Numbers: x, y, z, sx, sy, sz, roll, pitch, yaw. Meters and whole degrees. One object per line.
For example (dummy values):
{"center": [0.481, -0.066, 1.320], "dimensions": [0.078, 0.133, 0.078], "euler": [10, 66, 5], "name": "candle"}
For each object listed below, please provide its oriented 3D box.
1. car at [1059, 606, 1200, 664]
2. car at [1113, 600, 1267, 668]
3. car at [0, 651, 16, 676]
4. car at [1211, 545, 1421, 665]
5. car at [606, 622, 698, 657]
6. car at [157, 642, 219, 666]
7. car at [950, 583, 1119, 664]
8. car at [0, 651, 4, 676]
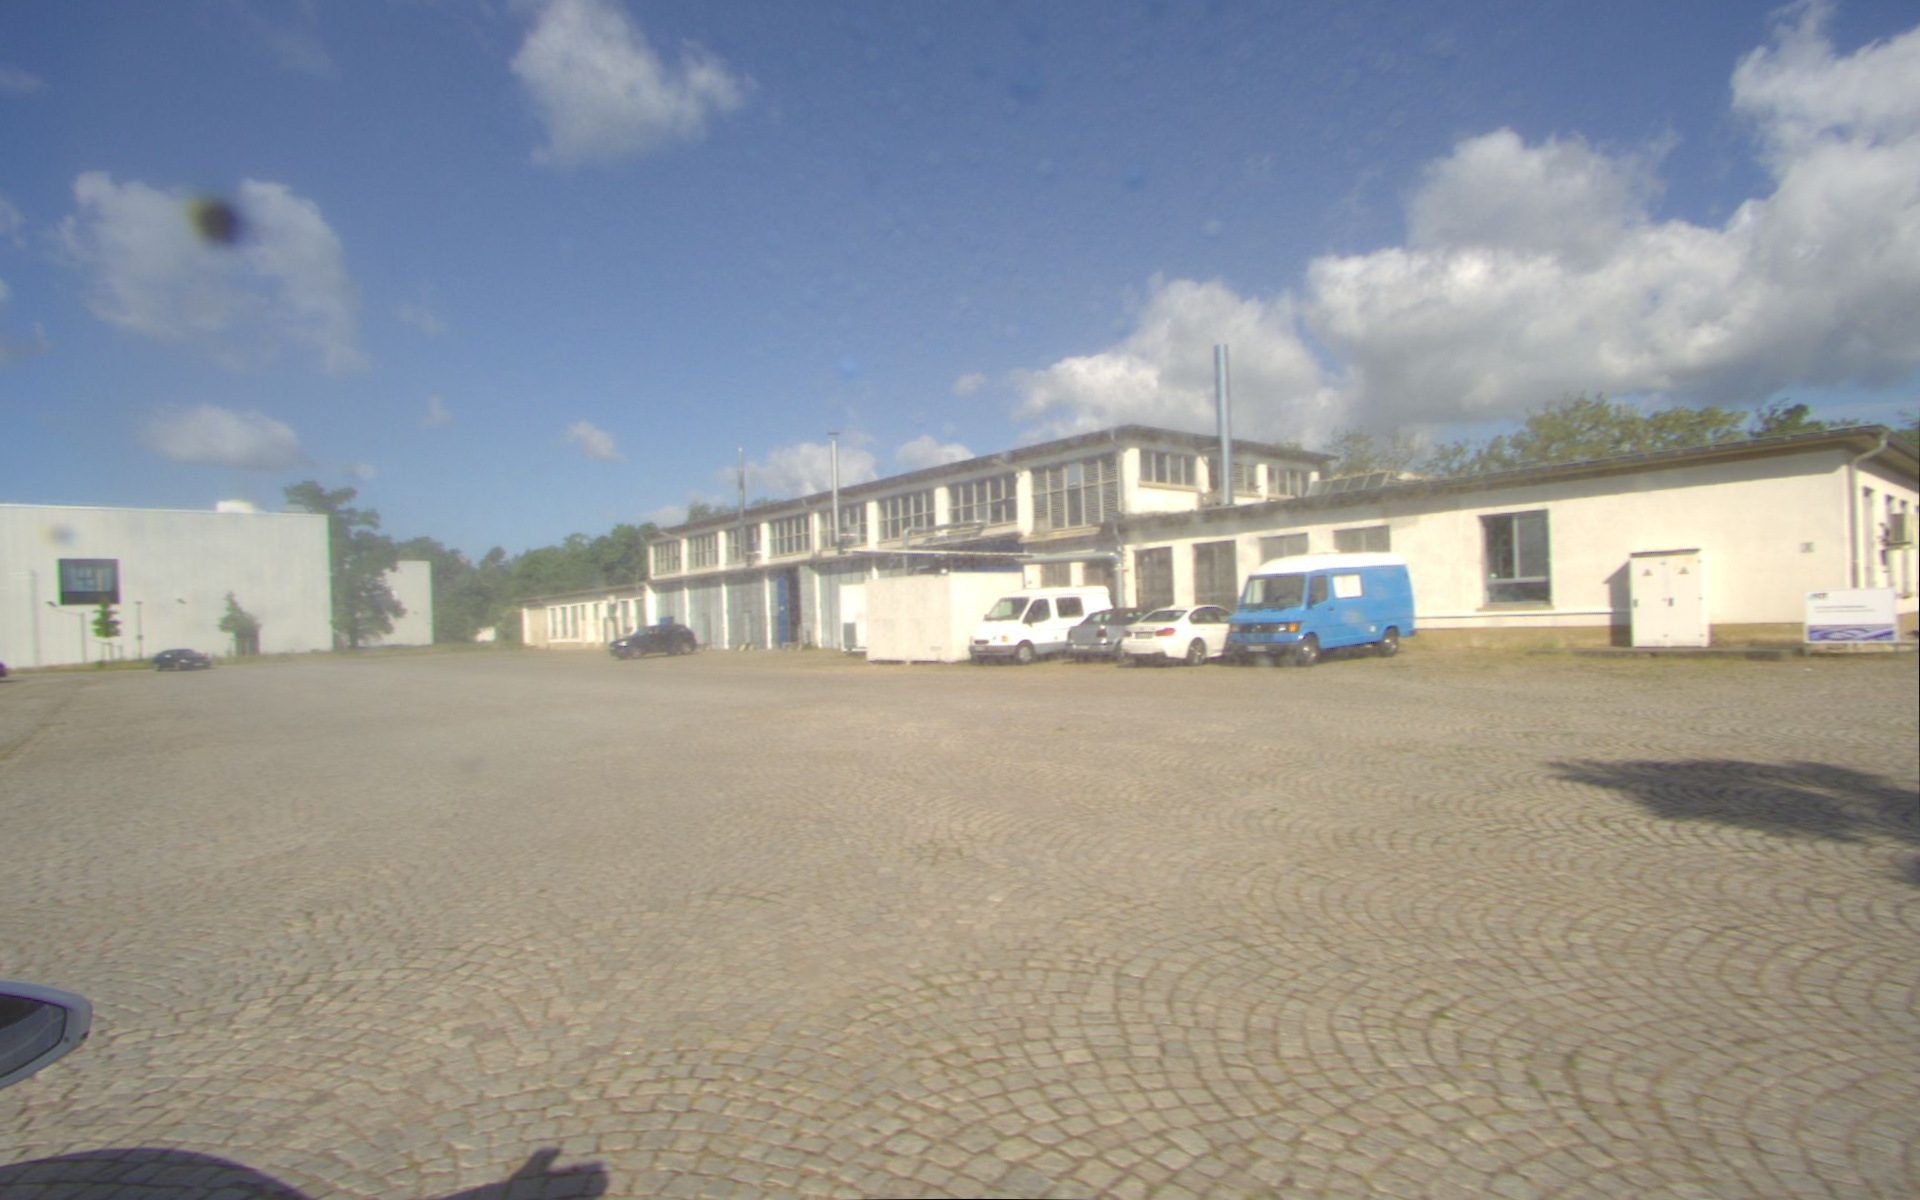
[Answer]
{"center": [4.684, 0.933, 27.507], "dimensions": [3.785, 1.417, 1.680], "euler": [-1, 0, -38], "name": "car"}
{"center": [5.722, 0.814, 24.735], "dimensions": [3.693, 1.424, 1.725], "euler": [-3, 0, -38], "name": "car"}
{"center": [-59.912, 3.906, 60.304], "dimensions": [4.312, 1.489, 1.726], "euler": [-1, -1, -42], "name": "car"}
{"center": [8.390, 0.108, 23.391], "dimensions": [5.174, 2.515, 2.075], "euler": [-1, -1, -37], "name": "car"}
{"center": [-15.414, 1.977, 50.155], "dimensions": [4.032, 1.489, 1.726], "euler": [-2, -1, -42], "name": "car"}
{"center": [-51.528, 3.628, 66.841], "dimensions": [4.014, 1.448, 1.733], "euler": [-3, -1, 28], "name": "car"}
{"center": [2.235, 0.652, 29.347], "dimensions": [4.745, 2.108, 1.996], "euler": [-2, 0, -37], "name": "car"}
{"center": [-58.034, 3.766, 57.686], "dimensions": [4.143, 1.422, 1.726], "euler": [-1, -1, -42], "name": "car"}
